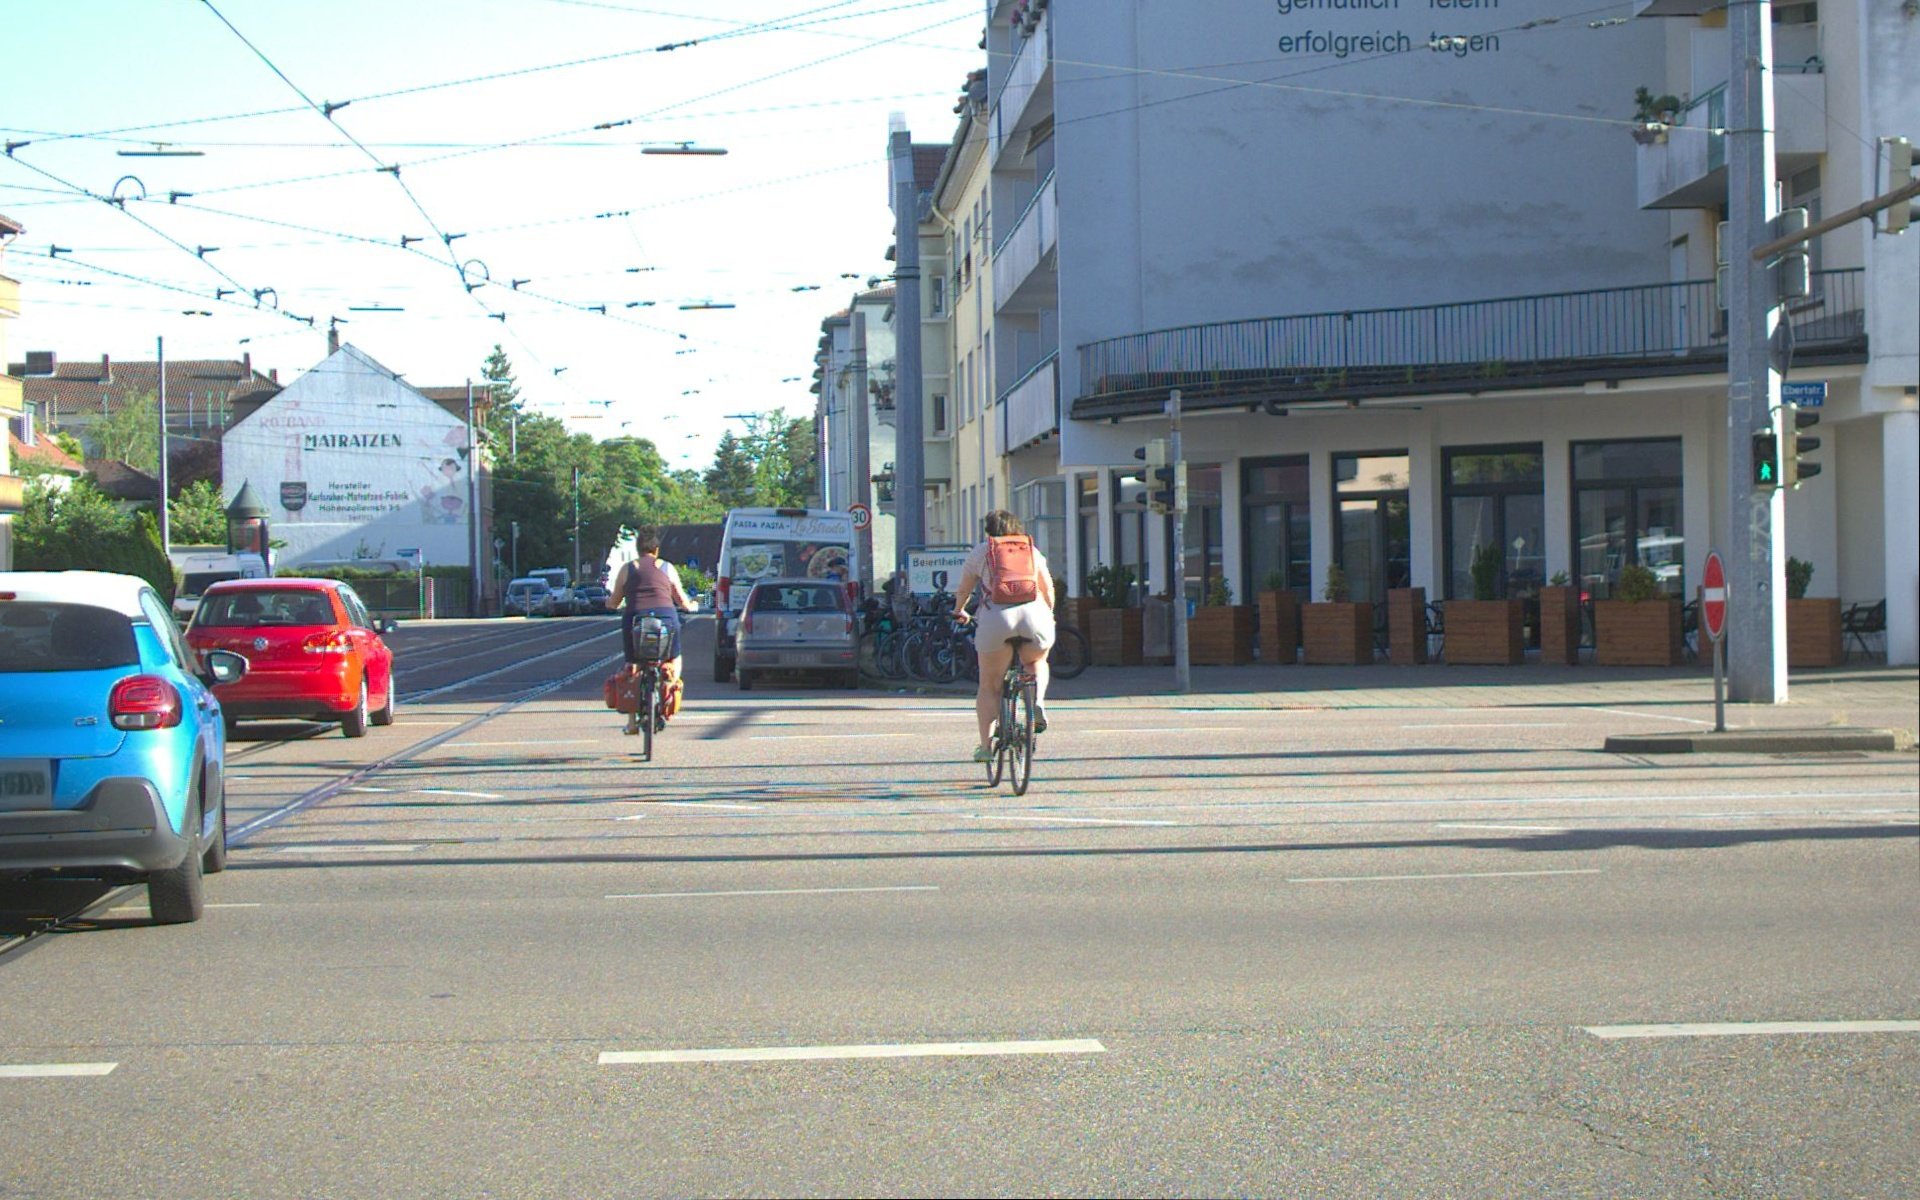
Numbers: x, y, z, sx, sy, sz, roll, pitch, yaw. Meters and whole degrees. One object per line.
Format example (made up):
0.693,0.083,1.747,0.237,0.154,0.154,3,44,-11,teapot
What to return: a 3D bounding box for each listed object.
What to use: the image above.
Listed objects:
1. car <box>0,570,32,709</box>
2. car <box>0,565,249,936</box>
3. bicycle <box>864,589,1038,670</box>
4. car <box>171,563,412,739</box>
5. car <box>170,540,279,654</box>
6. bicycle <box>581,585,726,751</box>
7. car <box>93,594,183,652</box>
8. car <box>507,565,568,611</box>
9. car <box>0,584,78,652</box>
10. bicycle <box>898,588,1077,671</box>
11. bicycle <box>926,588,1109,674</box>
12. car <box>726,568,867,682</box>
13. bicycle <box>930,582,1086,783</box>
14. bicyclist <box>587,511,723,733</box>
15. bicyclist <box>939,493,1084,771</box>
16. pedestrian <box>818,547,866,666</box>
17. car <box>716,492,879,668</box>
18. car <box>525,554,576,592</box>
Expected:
-11.100,0.437,36.341,1.778,1.481,3.829,-1,0,-4,car
-4.084,0.580,15.180,1.736,1.447,3.663,0,0,-10,car
-0.133,0.397,46.371,2.251,0.998,0.856,-2,0,-4,bicycle
-6.238,0.436,32.428,1.784,1.516,3.763,1,1,-4,car
-20.806,-0.088,97.356,2.417,3.131,3.489,1,0,-2,car
-2.345,0.504,26.533,0.940,1.219,2.094,1,0,-1,bicycle
-23.277,0.626,97.473,1.869,1.571,4.001,1,0,-5,car
-18.209,-0.510,148.370,2.218,1.925,4.950,1,0,-3,car
-22.520,0.419,82.725,1.869,1.571,4.001,1,0,-5,car
0.351,0.383,45.278,2.251,0.998,0.856,-2,0,-4,bicycle
0.728,0.393,44.051,2.251,0.998,0.856,-2,0,-4,bicycle
-2.221,0.319,45.926,1.657,1.426,3.889,1,0,-6,car
0.323,0.491,21.492,0.811,1.177,2.063,1,0,5,bicycle
-2.352,0.167,26.646,0.940,1.667,1.079,1,0,-1,bicyclist
0.332,0.192,21.493,0.811,1.686,0.935,1,0,5,bicyclist
-1.656,0.090,48.150,0.613,1.648,0.671,1,0,-5,pedestrian
-2.471,-0.287,50.958,2.265,2.473,5.009,0,0,-4,car
-19.724,-1.281,165.818,2.074,1.756,5.037,1,0,-3,car
